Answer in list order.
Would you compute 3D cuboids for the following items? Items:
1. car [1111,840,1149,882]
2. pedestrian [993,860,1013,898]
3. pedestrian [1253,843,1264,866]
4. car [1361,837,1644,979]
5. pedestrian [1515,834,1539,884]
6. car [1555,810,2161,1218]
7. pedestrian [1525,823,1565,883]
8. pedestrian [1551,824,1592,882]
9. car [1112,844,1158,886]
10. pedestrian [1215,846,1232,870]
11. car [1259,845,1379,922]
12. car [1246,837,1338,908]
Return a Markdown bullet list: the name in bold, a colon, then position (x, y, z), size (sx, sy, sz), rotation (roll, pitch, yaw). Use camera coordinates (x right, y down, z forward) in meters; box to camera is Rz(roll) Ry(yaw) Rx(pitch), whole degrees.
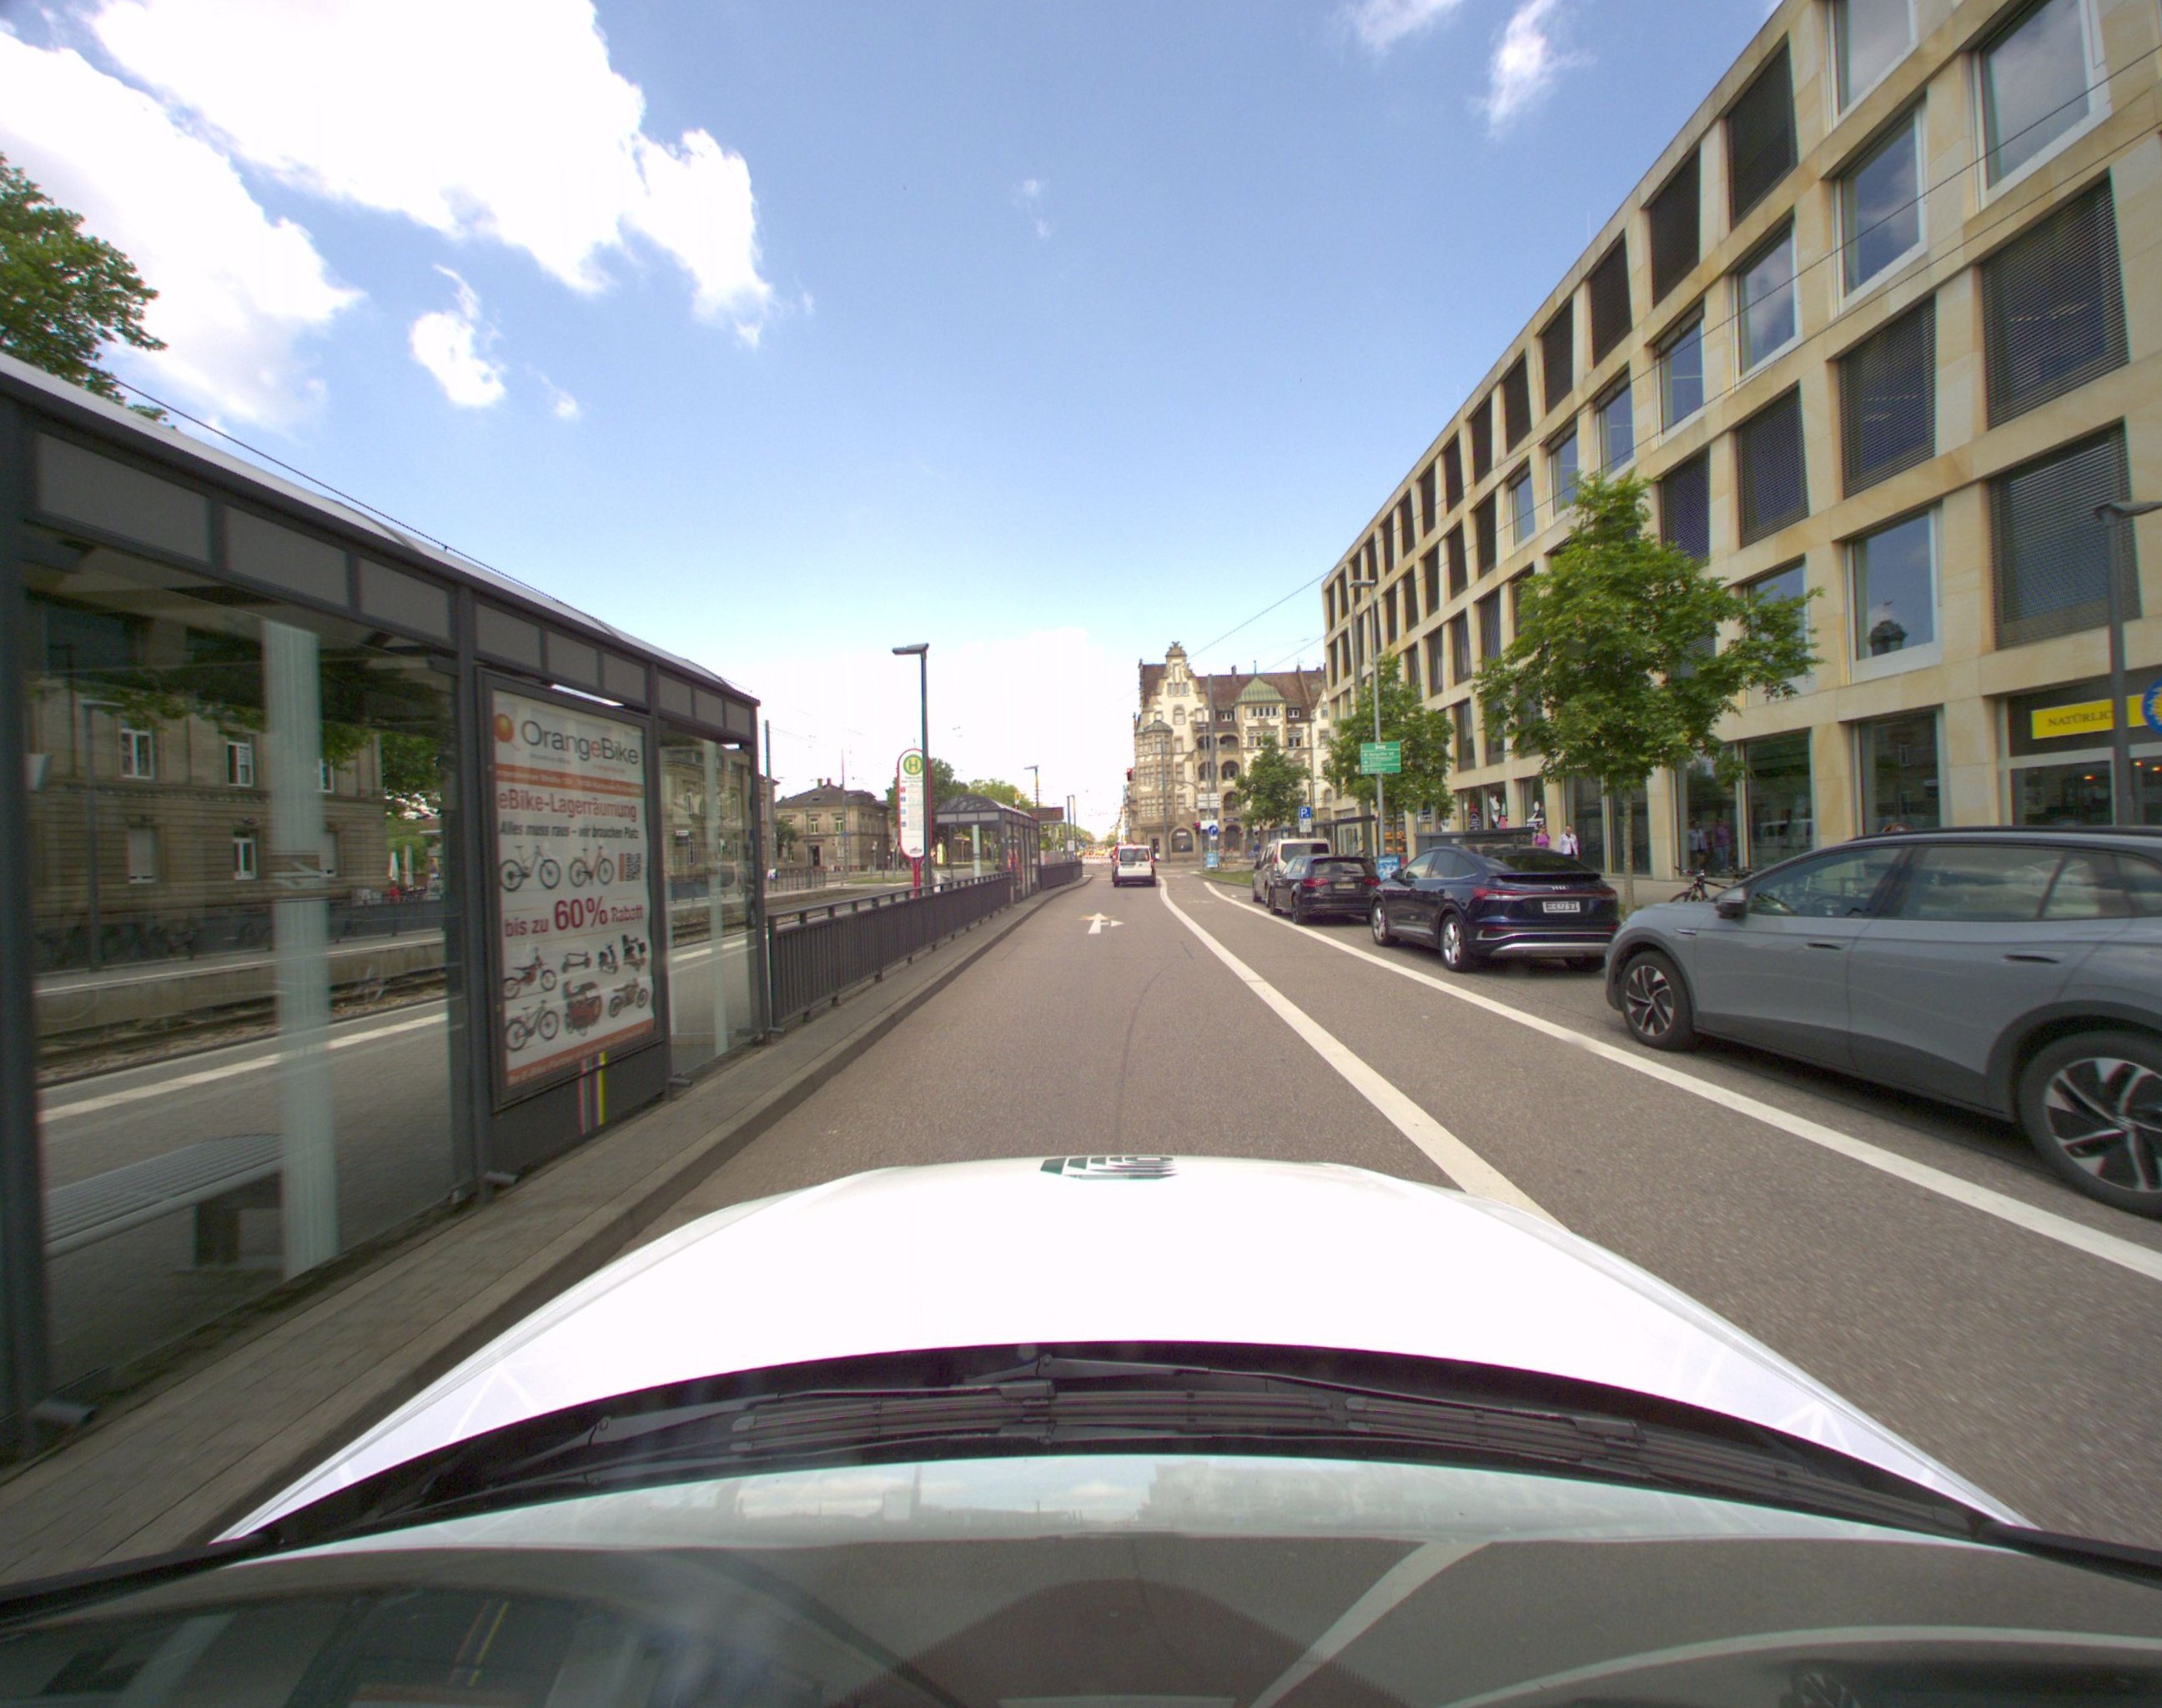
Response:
- **car**: position (2.512, 0.336, 42.543), size (1.862, 2.020, 4.002), rotation (-1, 0, 2)
- **pedestrian**: position (-2.477, 0.793, 25.960), size (0.511, 1.140, 0.501), rotation (-4, 0, 2)
- **pedestrian**: position (12.317, 0.044, 56.641), size (0.532, 1.572, 0.542), rotation (-4, 0, 0)
- **car**: position (5.501, 0.594, 11.350), size (1.800, 1.591, 4.307), rotation (0, 0, 1)
- **pedestrian**: position (13.122, 0.155, 23.958), size (0.437, 1.448, 0.434), rotation (-2, 0, 1)
- **car**: position (5.130, 0.607, 4.886), size (1.801, 1.591, 4.841), rotation (0, 0, 0)
- **pedestrian**: position (13.717, -0.028, 24.098), size (0.757, 1.723, 0.659), rotation (-2, 0, 1)
- **pedestrian**: position (14.504, -0.020, 24.096), size (0.757, 1.670, 0.659), rotation (-2, 0, 1)
- **car**: position (2.354, 0.459, 36.339), size (1.862, 1.746, 4.002), rotation (-1, 0, 2)
- **pedestrian**: position (9.589, 0.259, 54.847), size (0.807, 1.572, 0.626), rotation (-4, 0, -15)
- **car**: position (5.011, 0.552, 17.662), size (1.438, 1.470, 4.092), rotation (0, 0, 0)
- **car**: position (5.743, 0.458, 22.538), size (1.704, 1.796, 3.361), rotation (0, 0, 0)
